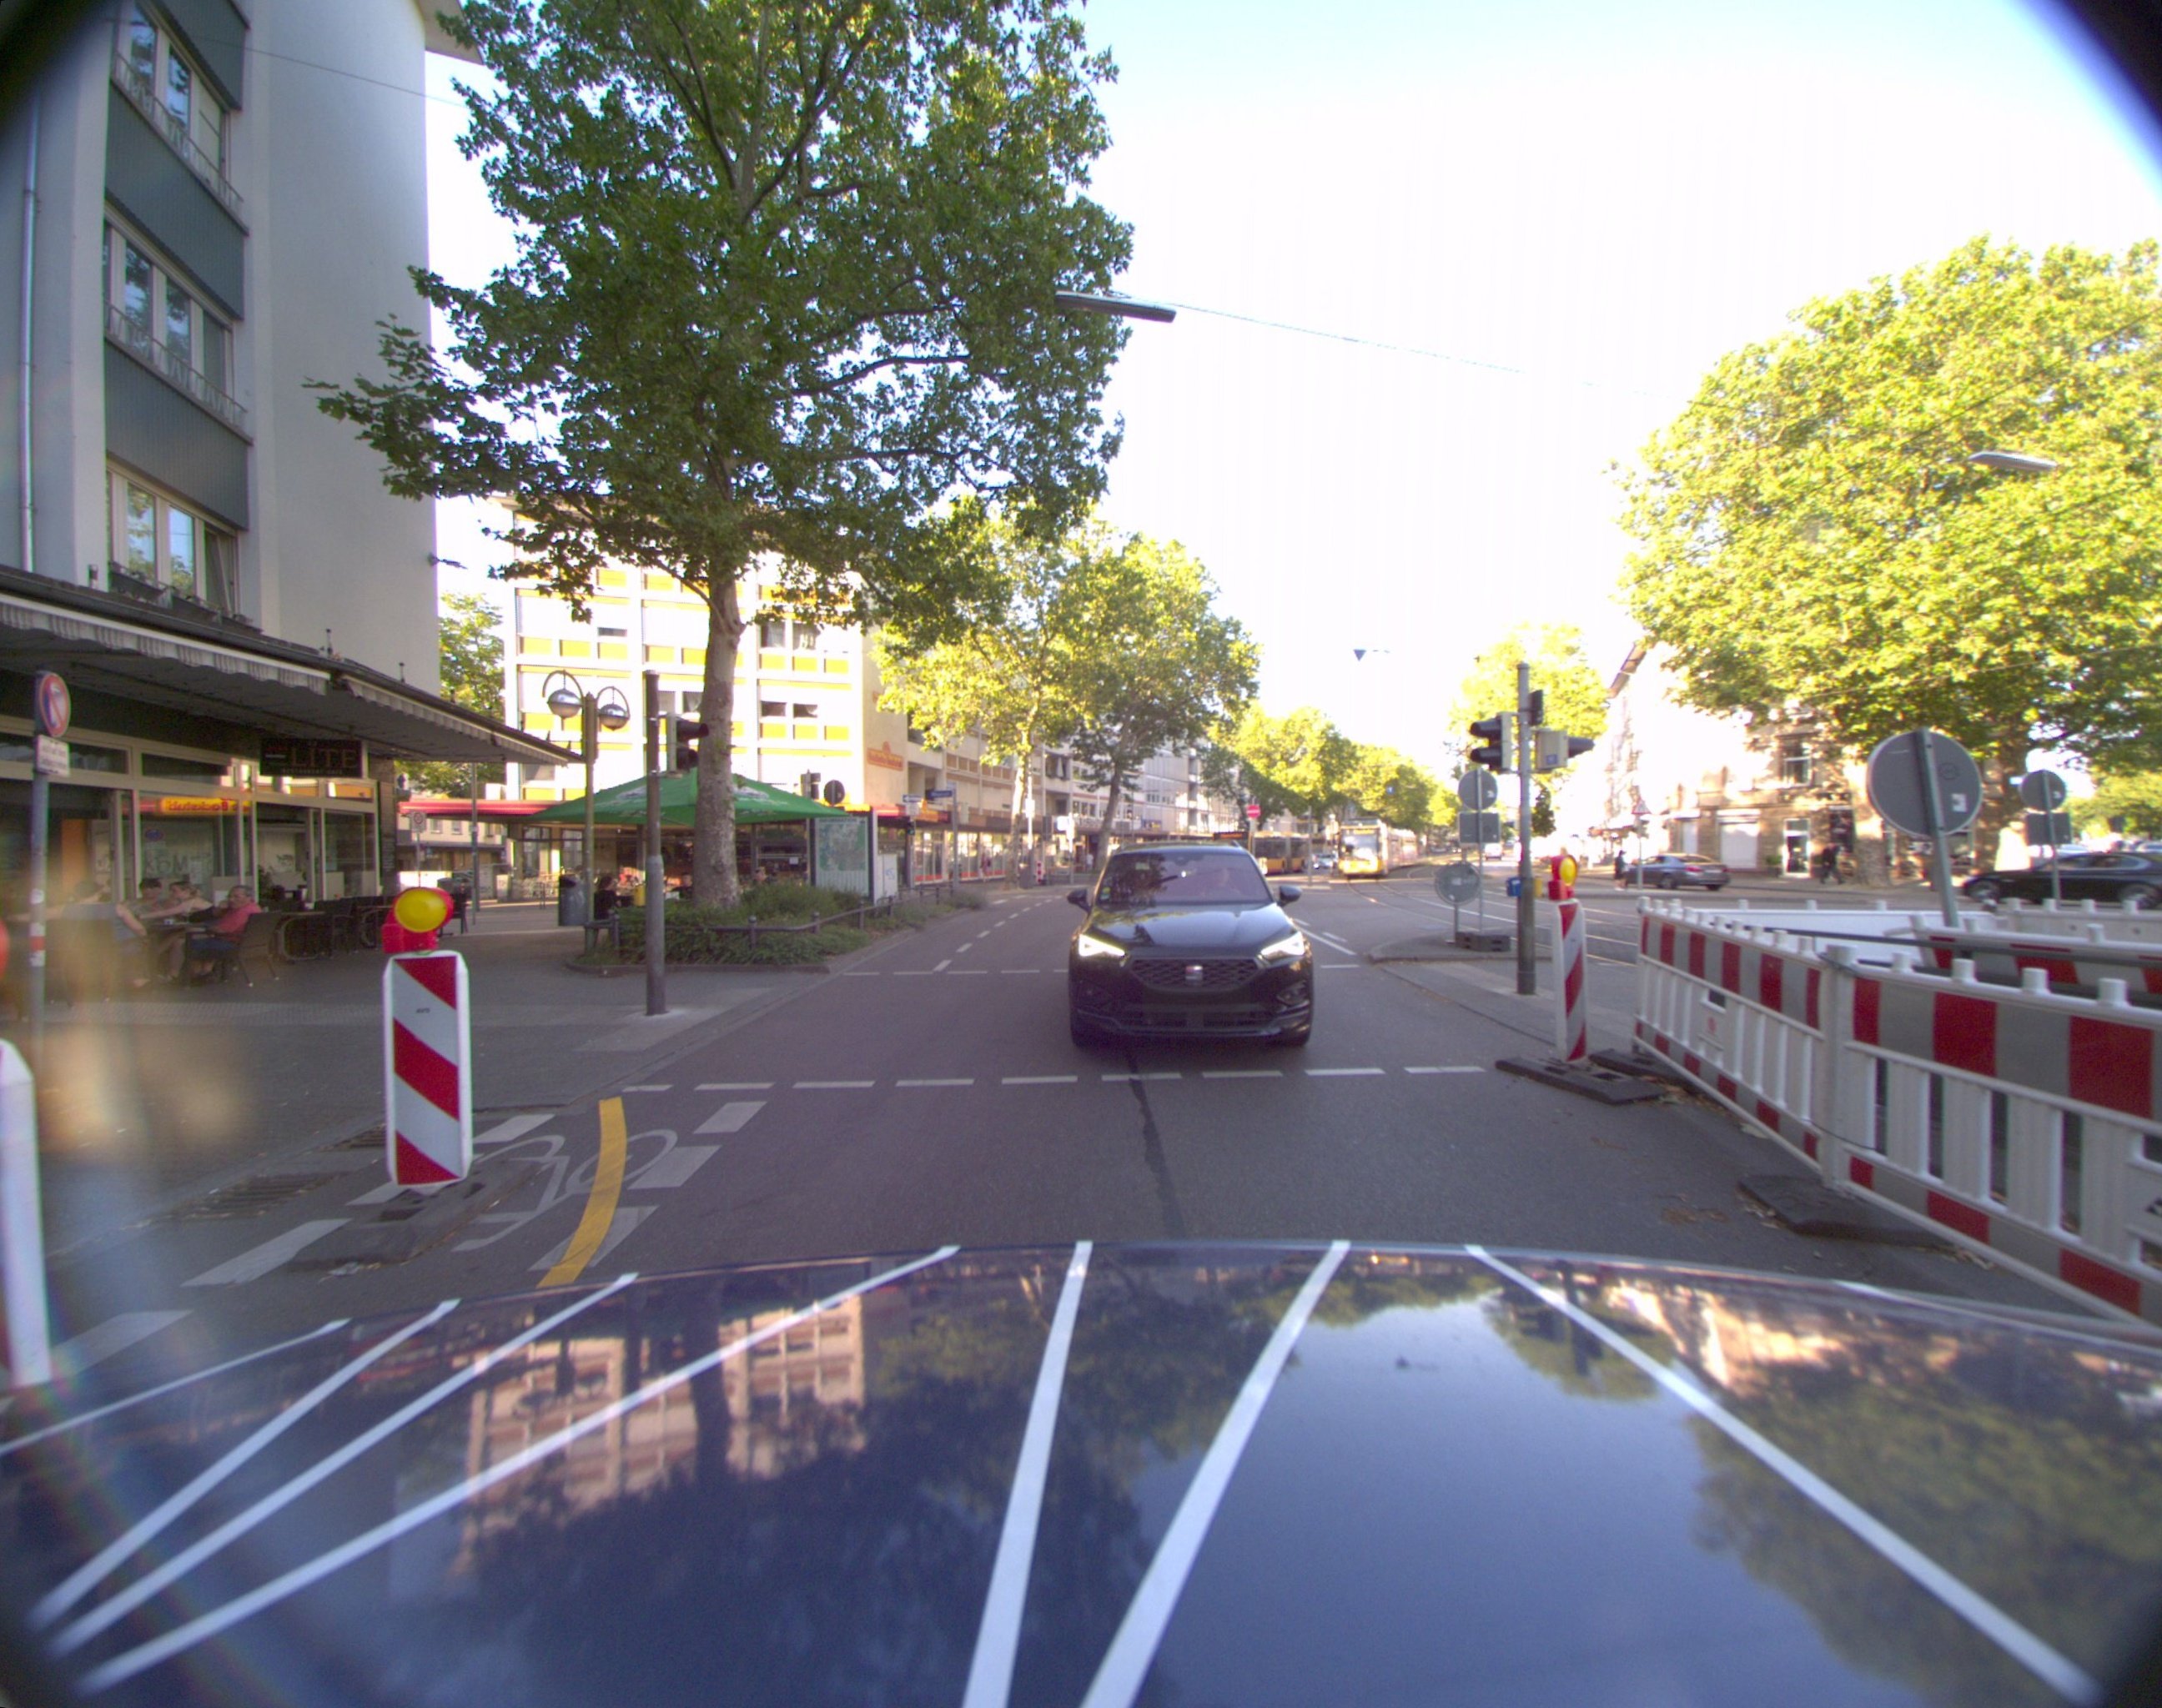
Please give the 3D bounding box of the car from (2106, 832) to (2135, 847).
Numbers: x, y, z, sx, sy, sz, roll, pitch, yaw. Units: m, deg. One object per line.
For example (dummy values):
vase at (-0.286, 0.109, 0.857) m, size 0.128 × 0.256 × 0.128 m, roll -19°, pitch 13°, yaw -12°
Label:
car at (108.791, -1.529, 79.526) m, size 4.007 × 1.485 × 1.723 m, roll -1°, pitch 1°, yaw -36°

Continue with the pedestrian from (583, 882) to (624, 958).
pedestrian at (-7.908, 1.075, 12.573) m, size 0.469 × 1.212 × 0.431 m, roll -2°, pitch 1°, yaw -44°

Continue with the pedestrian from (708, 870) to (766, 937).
pedestrian at (-6.823, 0.960, 15.097) m, size 0.718 × 1.278 × 0.769 m, roll 0°, pitch 1°, yaw 14°

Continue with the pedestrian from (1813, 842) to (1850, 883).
pedestrian at (32.559, 0.368, 32.962) m, size 0.797 × 1.745 × 0.802 m, roll -1°, pitch 1°, yaw 0°

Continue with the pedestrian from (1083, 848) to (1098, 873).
pedestrian at (0.674, 0.459, 53.472) m, size 0.748 × 1.747 × 0.903 m, roll 0°, pitch 1°, yaw 17°

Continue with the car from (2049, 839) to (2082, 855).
car at (90.835, -0.646, 70.084) m, size 4.007 × 1.485 × 1.723 m, roll -1°, pitch 1°, yaw -36°

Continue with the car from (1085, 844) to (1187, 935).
car at (1.186, 0.663, 16.483) m, size 1.848 × 1.648 × 4.653 m, roll -2°, pitch 0°, yaw 4°

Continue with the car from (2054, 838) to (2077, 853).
car at (136.052, -1.201, 104.979) m, size 4.007 × 2.004 × 1.846 m, roll -1°, pitch 1°, yaw -36°

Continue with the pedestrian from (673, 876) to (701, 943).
pedestrian at (-7.425, 1.028, 14.319) m, size 0.433 × 1.212 × 0.467 m, roll 1°, pitch 1°, yaw -29°

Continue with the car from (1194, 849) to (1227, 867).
car at (11.023, 0.323, 64.517) m, size 1.648 × 1.463 × 3.715 m, roll -1°, pitch 0°, yaw 28°

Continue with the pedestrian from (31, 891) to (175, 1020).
pedestrian at (-10.226, 1.026, 7.981) m, size 0.651 × 1.244 × 0.716 m, roll 1°, pitch -1°, yaw -24°

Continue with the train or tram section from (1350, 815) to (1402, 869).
train or tram section at (21.445, -0.835, 54.806) m, size 2.837 × 3.467 × 10.355 m, roll -1°, pitch 1°, yaw 25°

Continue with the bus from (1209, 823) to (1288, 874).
bus at (11.345, -0.373, 50.626) m, size 2.748 × 3.085 × 9.514 m, roll 0°, pitch 1°, yaw 27°

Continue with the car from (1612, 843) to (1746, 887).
car at (24.140, 0.422, 30.941) m, size 1.952 × 1.645 × 4.691 m, roll 0°, pitch 0°, yaw 3°

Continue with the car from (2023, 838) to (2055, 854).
car at (94.637, -0.791, 75.049) m, size 4.007 × 1.485 × 1.723 m, roll -1°, pitch 1°, yaw -36°

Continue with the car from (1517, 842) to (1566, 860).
car at (52.535, -0.367, 86.710) m, size 4.651 × 1.965 × 1.901 m, roll -1°, pitch 1°, yaw -11°

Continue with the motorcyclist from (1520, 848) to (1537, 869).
motorcyclist at (28.506, 0.256, 48.412) m, size 0.681 × 1.308 × 0.985 m, roll 0°, pitch 2°, yaw 13°

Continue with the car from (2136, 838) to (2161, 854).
car at (98.339, -0.743, 69.775) m, size 4.007 × 1.485 × 1.723 m, roll -1°, pitch 1°, yaw -36°

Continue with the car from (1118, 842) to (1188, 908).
car at (2.065, 0.530, 21.650) m, size 1.743 × 1.630 × 4.300 m, roll -2°, pitch 0°, yaw 6°

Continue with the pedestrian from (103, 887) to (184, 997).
pedestrian at (-11.250, 1.031, 9.123) m, size 0.519 × 1.236 × 0.553 m, roll 0°, pitch -1°, yaw 34°

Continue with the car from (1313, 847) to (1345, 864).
car at (23.513, 0.142, 71.963) m, size 1.907 × 1.467 × 4.426 m, roll 0°, pitch 1°, yaw 32°

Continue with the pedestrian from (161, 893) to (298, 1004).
pedestrian at (-9.854, 1.065, 8.832) m, size 0.847 × 1.191 × 0.649 m, roll 1°, pitch -1°, yaw -22°

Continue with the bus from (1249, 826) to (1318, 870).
bus at (15.880, -0.470, 58.988) m, size 2.747 × 3.085 × 9.515 m, roll 0°, pitch 1°, yaw 30°

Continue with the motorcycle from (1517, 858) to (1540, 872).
motorcycle at (28.520, 0.682, 48.429) m, size 0.681 × 0.804 × 1.997 m, roll 0°, pitch 1°, yaw 13°

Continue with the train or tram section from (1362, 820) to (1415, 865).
train or tram section at (26.041, -0.932, 63.991) m, size 2.872 × 3.467 × 10.357 m, roll -1°, pitch 1°, yaw 29°

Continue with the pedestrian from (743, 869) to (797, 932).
pedestrian at (-6.556, 0.960, 16.021) m, size 0.718 × 1.278 × 0.769 m, roll -1°, pitch 1°, yaw 13°

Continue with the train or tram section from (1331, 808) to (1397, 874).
train or tram section at (17.103, -0.721, 45.397) m, size 2.818 × 3.467 × 10.355 m, roll -1°, pitch 1°, yaw 25°

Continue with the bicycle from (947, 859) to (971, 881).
bicycle at (-6.714, 0.860, 41.870) m, size 0.528 × 1.136 × 1.976 m, roll 0°, pitch 0°, yaw 15°

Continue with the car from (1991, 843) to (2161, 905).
car at (26.663, 0.475, 19.371) m, size 1.997 × 1.440 × 4.542 m, roll 0°, pitch 0°, yaw 10°

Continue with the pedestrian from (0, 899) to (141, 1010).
pedestrian at (-11.093, 1.068, 8.354) m, size 0.718 × 1.123 × 0.649 m, roll 1°, pitch -1°, yaw -24°

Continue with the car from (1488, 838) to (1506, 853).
car at (59.773, -1.222, 109.245) m, size 2.162 × 2.110 × 4.987 m, roll 1°, pitch 1°, yaw 29°

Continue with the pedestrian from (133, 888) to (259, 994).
pedestrian at (-10.700, 1.031, 9.211) m, size 0.666 × 1.211 × 0.717 m, roll 0°, pitch -1°, yaw -5°

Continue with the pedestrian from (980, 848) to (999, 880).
pedestrian at (-5.166, 0.547, 42.801) m, size 0.748 × 1.747 × 0.903 m, roll 0°, pitch 1°, yaw 17°

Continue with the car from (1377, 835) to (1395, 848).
car at (41.160, -1.685, 102.518) m, size 1.952 × 1.768 × 4.006 m, roll 0°, pitch 1°, yaw 26°

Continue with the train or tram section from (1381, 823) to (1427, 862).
train or tram section at (31.145, -1.058, 72.995) m, size 2.837 × 3.467 × 10.358 m, roll -1°, pitch 1°, yaw 30°

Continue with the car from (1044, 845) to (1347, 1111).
car at (0.863, 0.783, 6.927) m, size 1.848 × 1.648 × 4.300 m, roll -2°, pitch 0°, yaw 4°

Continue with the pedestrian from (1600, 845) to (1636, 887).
pedestrian at (19.961, 0.434, 28.250) m, size 0.799 × 1.500 × 0.800 m, roll -1°, pitch 1°, yaw -28°

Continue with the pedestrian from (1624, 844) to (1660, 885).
pedestrian at (20.855, 0.389, 28.257) m, size 0.798 × 1.500 × 0.800 m, roll -1°, pitch 1°, yaw -23°
